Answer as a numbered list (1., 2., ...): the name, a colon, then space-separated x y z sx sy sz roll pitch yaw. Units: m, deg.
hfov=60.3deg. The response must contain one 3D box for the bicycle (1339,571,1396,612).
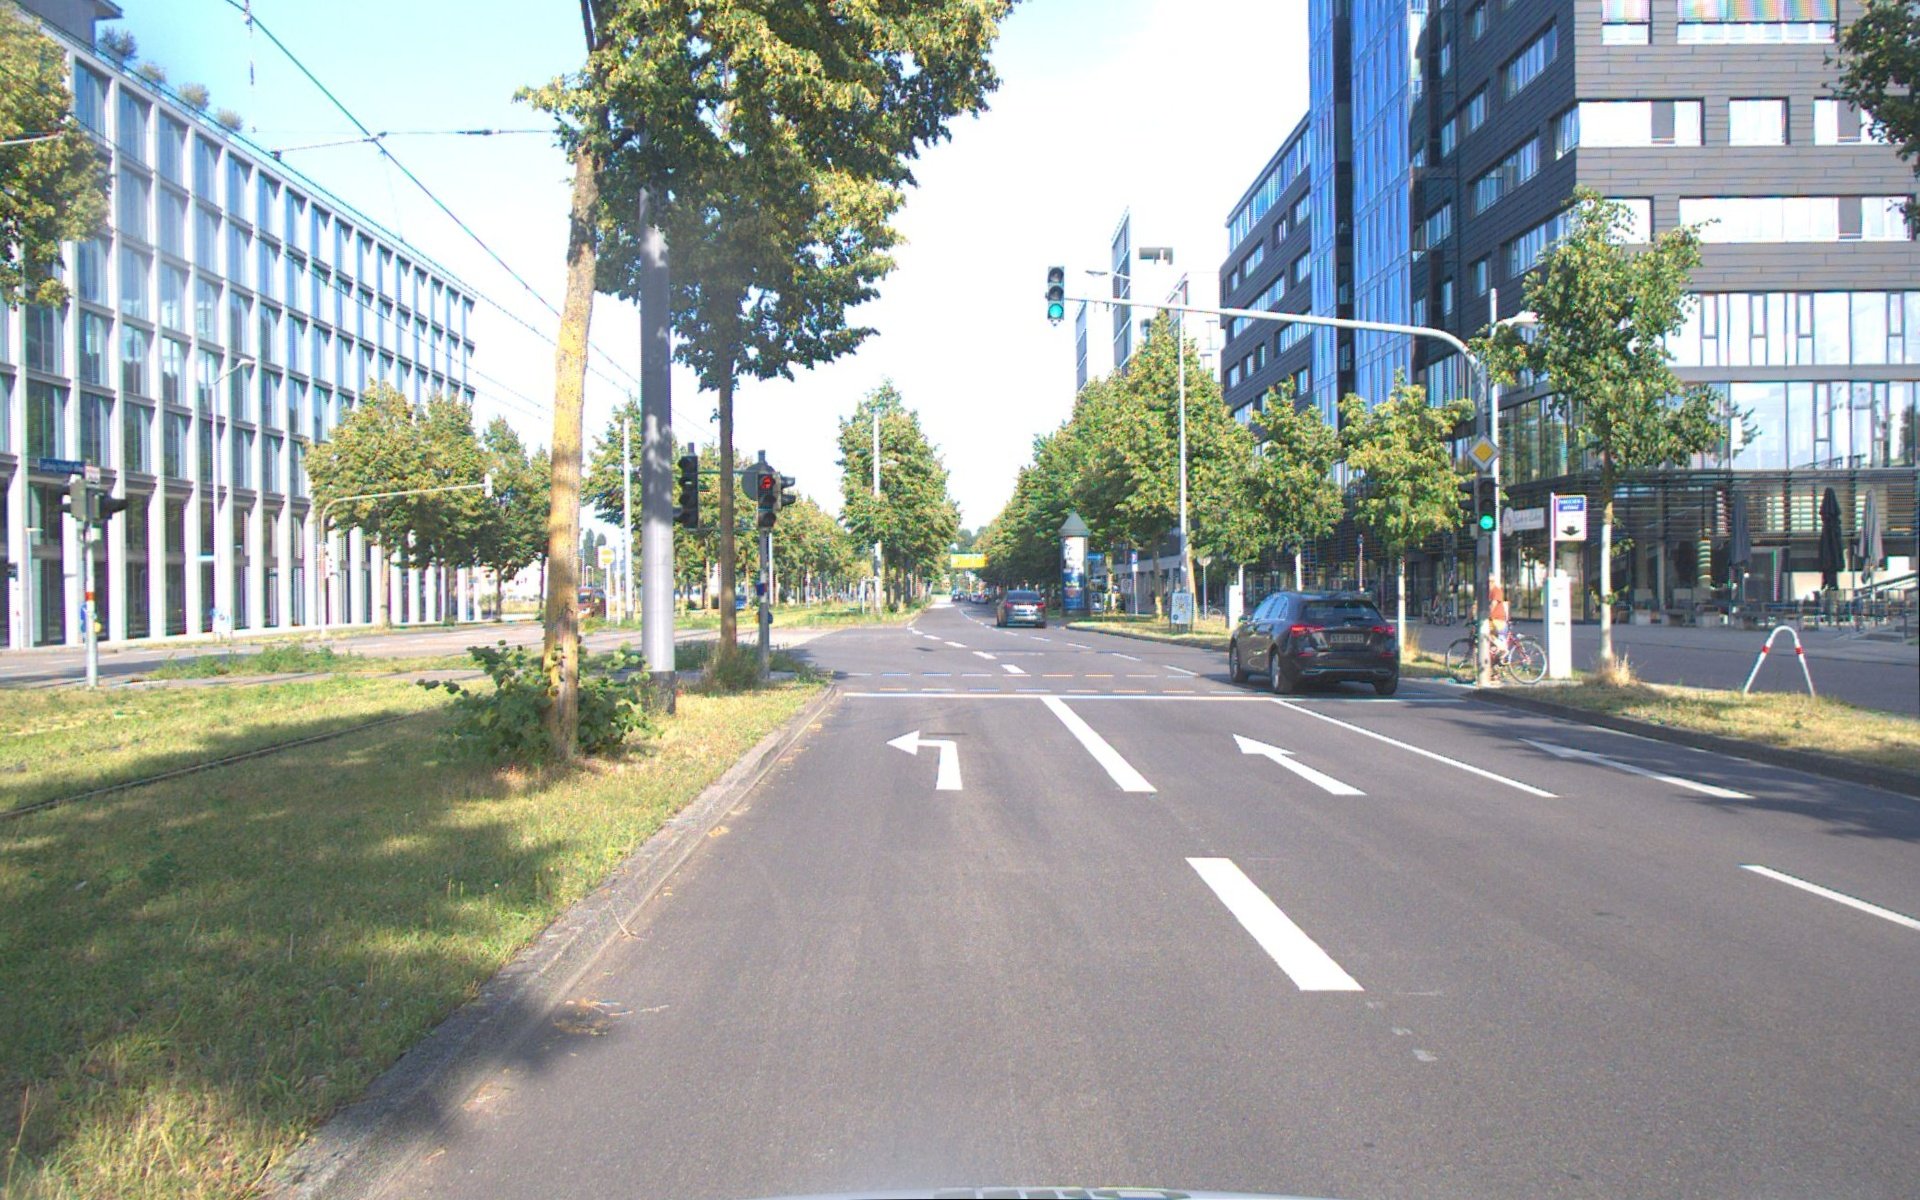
1. bicycle: 18.000 -0.379 73.043 2.383 1.776 0.554 1 0 9

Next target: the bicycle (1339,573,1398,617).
1. bicycle: 18.274 -0.228 74.066 2.510 1.890 0.570 1 0 9

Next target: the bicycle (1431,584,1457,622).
1. bicycle: 17.592 0.105 60.111 0.365 1.370 1.894 1 0 0

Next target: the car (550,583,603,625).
1. car: -17.024 0.167 73.546 1.651 1.806 3.879 1 0 -4

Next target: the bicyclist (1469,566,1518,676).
1. bicyclist: 8.520 0.334 26.423 0.563 1.736 0.540 1 0 -3

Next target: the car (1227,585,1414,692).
1. car: 5.310 0.542 24.836 1.739 1.449 3.958 1 0 -3

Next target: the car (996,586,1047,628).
1. car: 2.385 0.258 64.807 1.822 1.551 3.785 1 0 -1

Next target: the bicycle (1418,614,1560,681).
1. bicycle: 8.438 0.754 26.421 2.092 1.030 0.571 1 0 -5
